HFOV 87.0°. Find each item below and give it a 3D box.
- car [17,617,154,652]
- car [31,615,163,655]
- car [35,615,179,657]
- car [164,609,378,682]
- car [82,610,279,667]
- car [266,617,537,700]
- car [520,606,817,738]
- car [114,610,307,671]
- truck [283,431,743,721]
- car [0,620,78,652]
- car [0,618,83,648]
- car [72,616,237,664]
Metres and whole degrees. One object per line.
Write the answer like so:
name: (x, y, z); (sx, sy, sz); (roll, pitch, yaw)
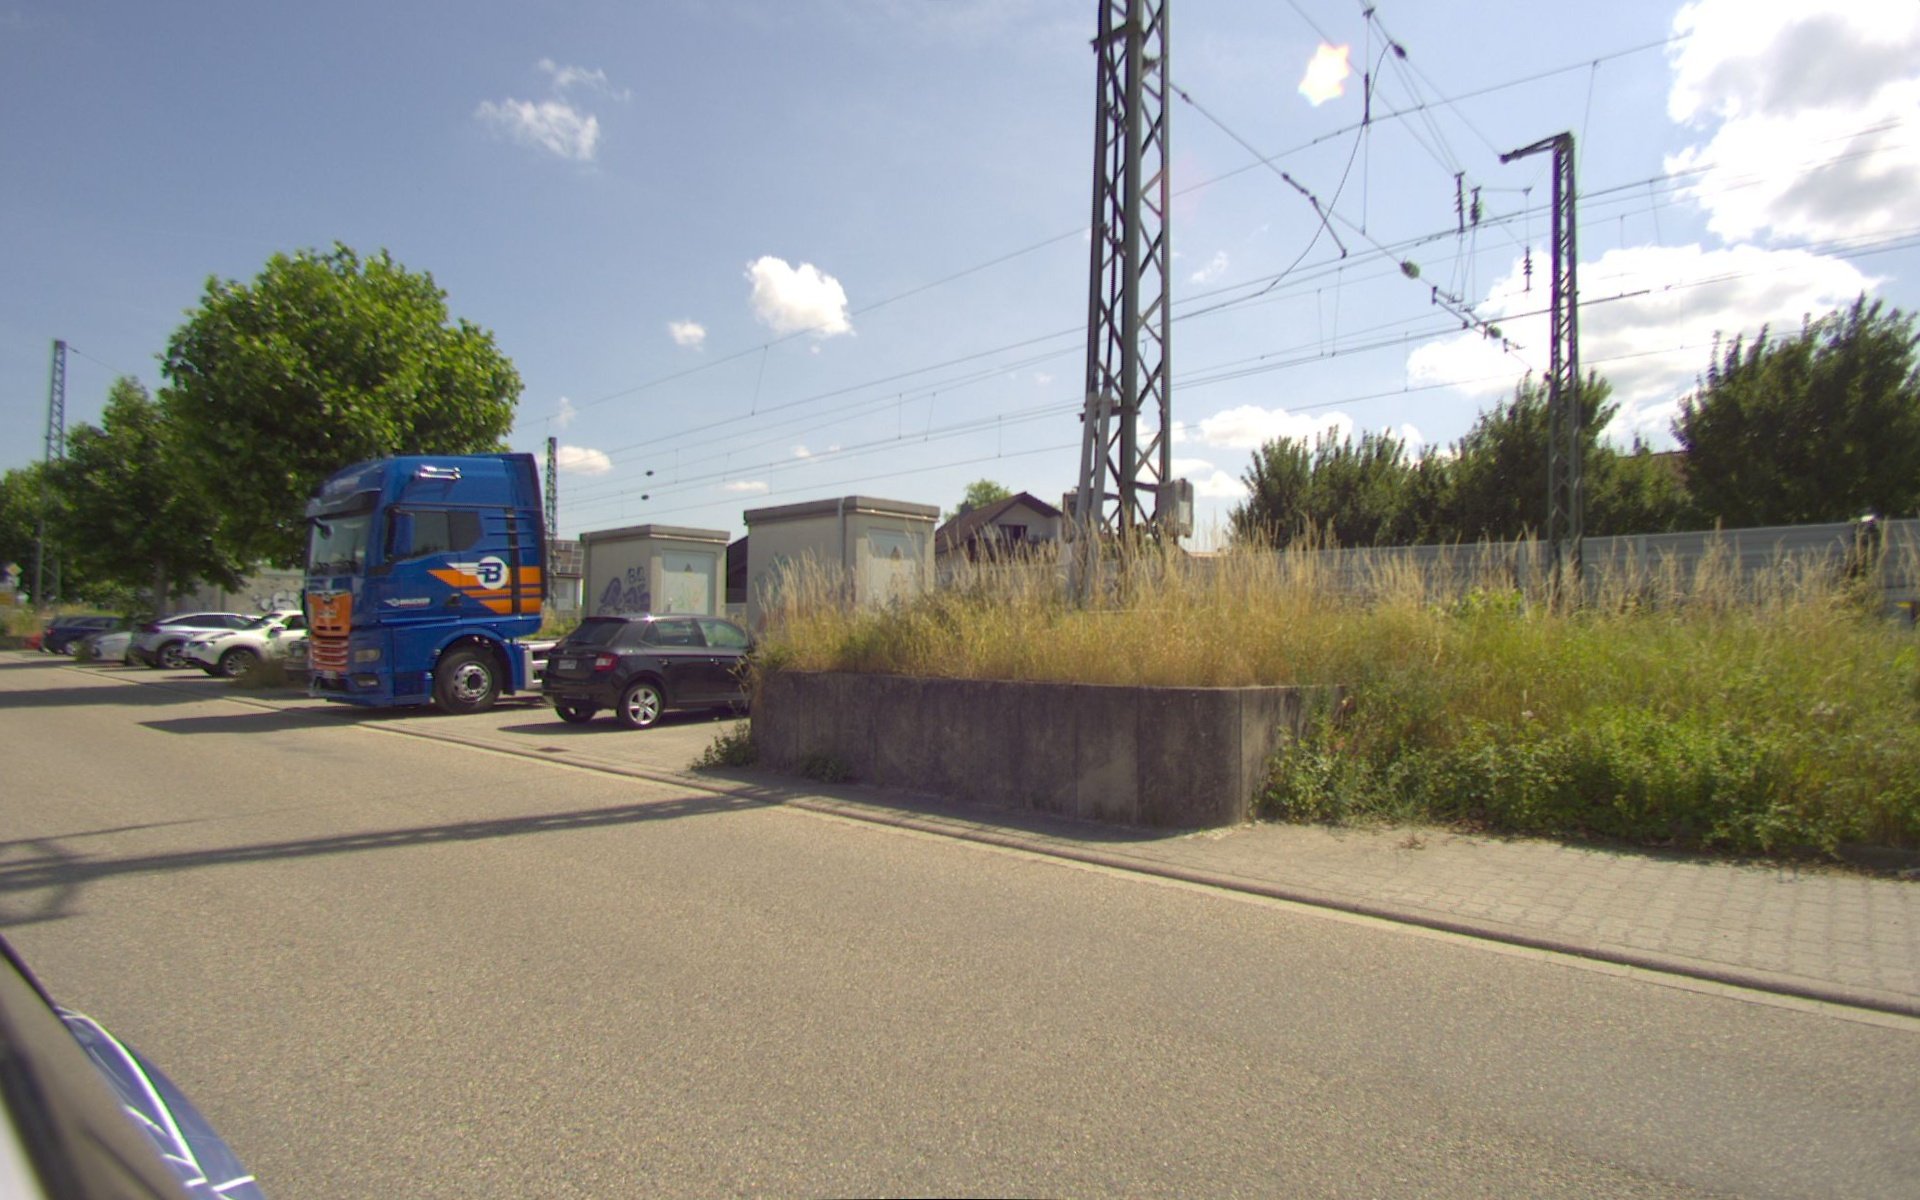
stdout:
car: (-35.660, 1.408, 41.341); (1.673, 1.379, 4.030); (-3, -3, 41)
car: (-33.267, 1.313, 39.072); (1.682, 1.459, 3.630); (-1, -1, 39)
car: (-31.340, 1.327, 37.243); (3.900, 1.461, 1.788); (2, -2, -45)
car: (-16.774, 1.081, 24.794); (1.848, 1.630, 3.933); (-1, -2, 37)
car: (-22.909, 1.113, 29.871); (1.925, 1.544, 4.293); (-1, -2, 40)
car: (-10.572, 1.044, 19.416); (1.870, 1.406, 4.167); (-1, -2, 39)
car: (-3.888, 0.940, 13.979); (1.698, 1.511, 3.608); (2, -2, 37)
car: (-20.803, 1.099, 28.224); (1.998, 1.559, 3.948); (-1, -2, 39)
truck: (-7.046, -0.281, 16.847); (2.661, 3.852, 6.549); (-1, -1, 39)
car: (-43.033, 1.608, 46.105); (1.785, 1.412, 4.033); (-1, -1, 38)
car: (-46.243, 1.606, 49.798); (1.785, 1.421, 4.383); (-1, -3, 38)
car: (-26.796, 1.337, 33.754); (1.786, 1.484, 4.030); (-1, -3, 41)
